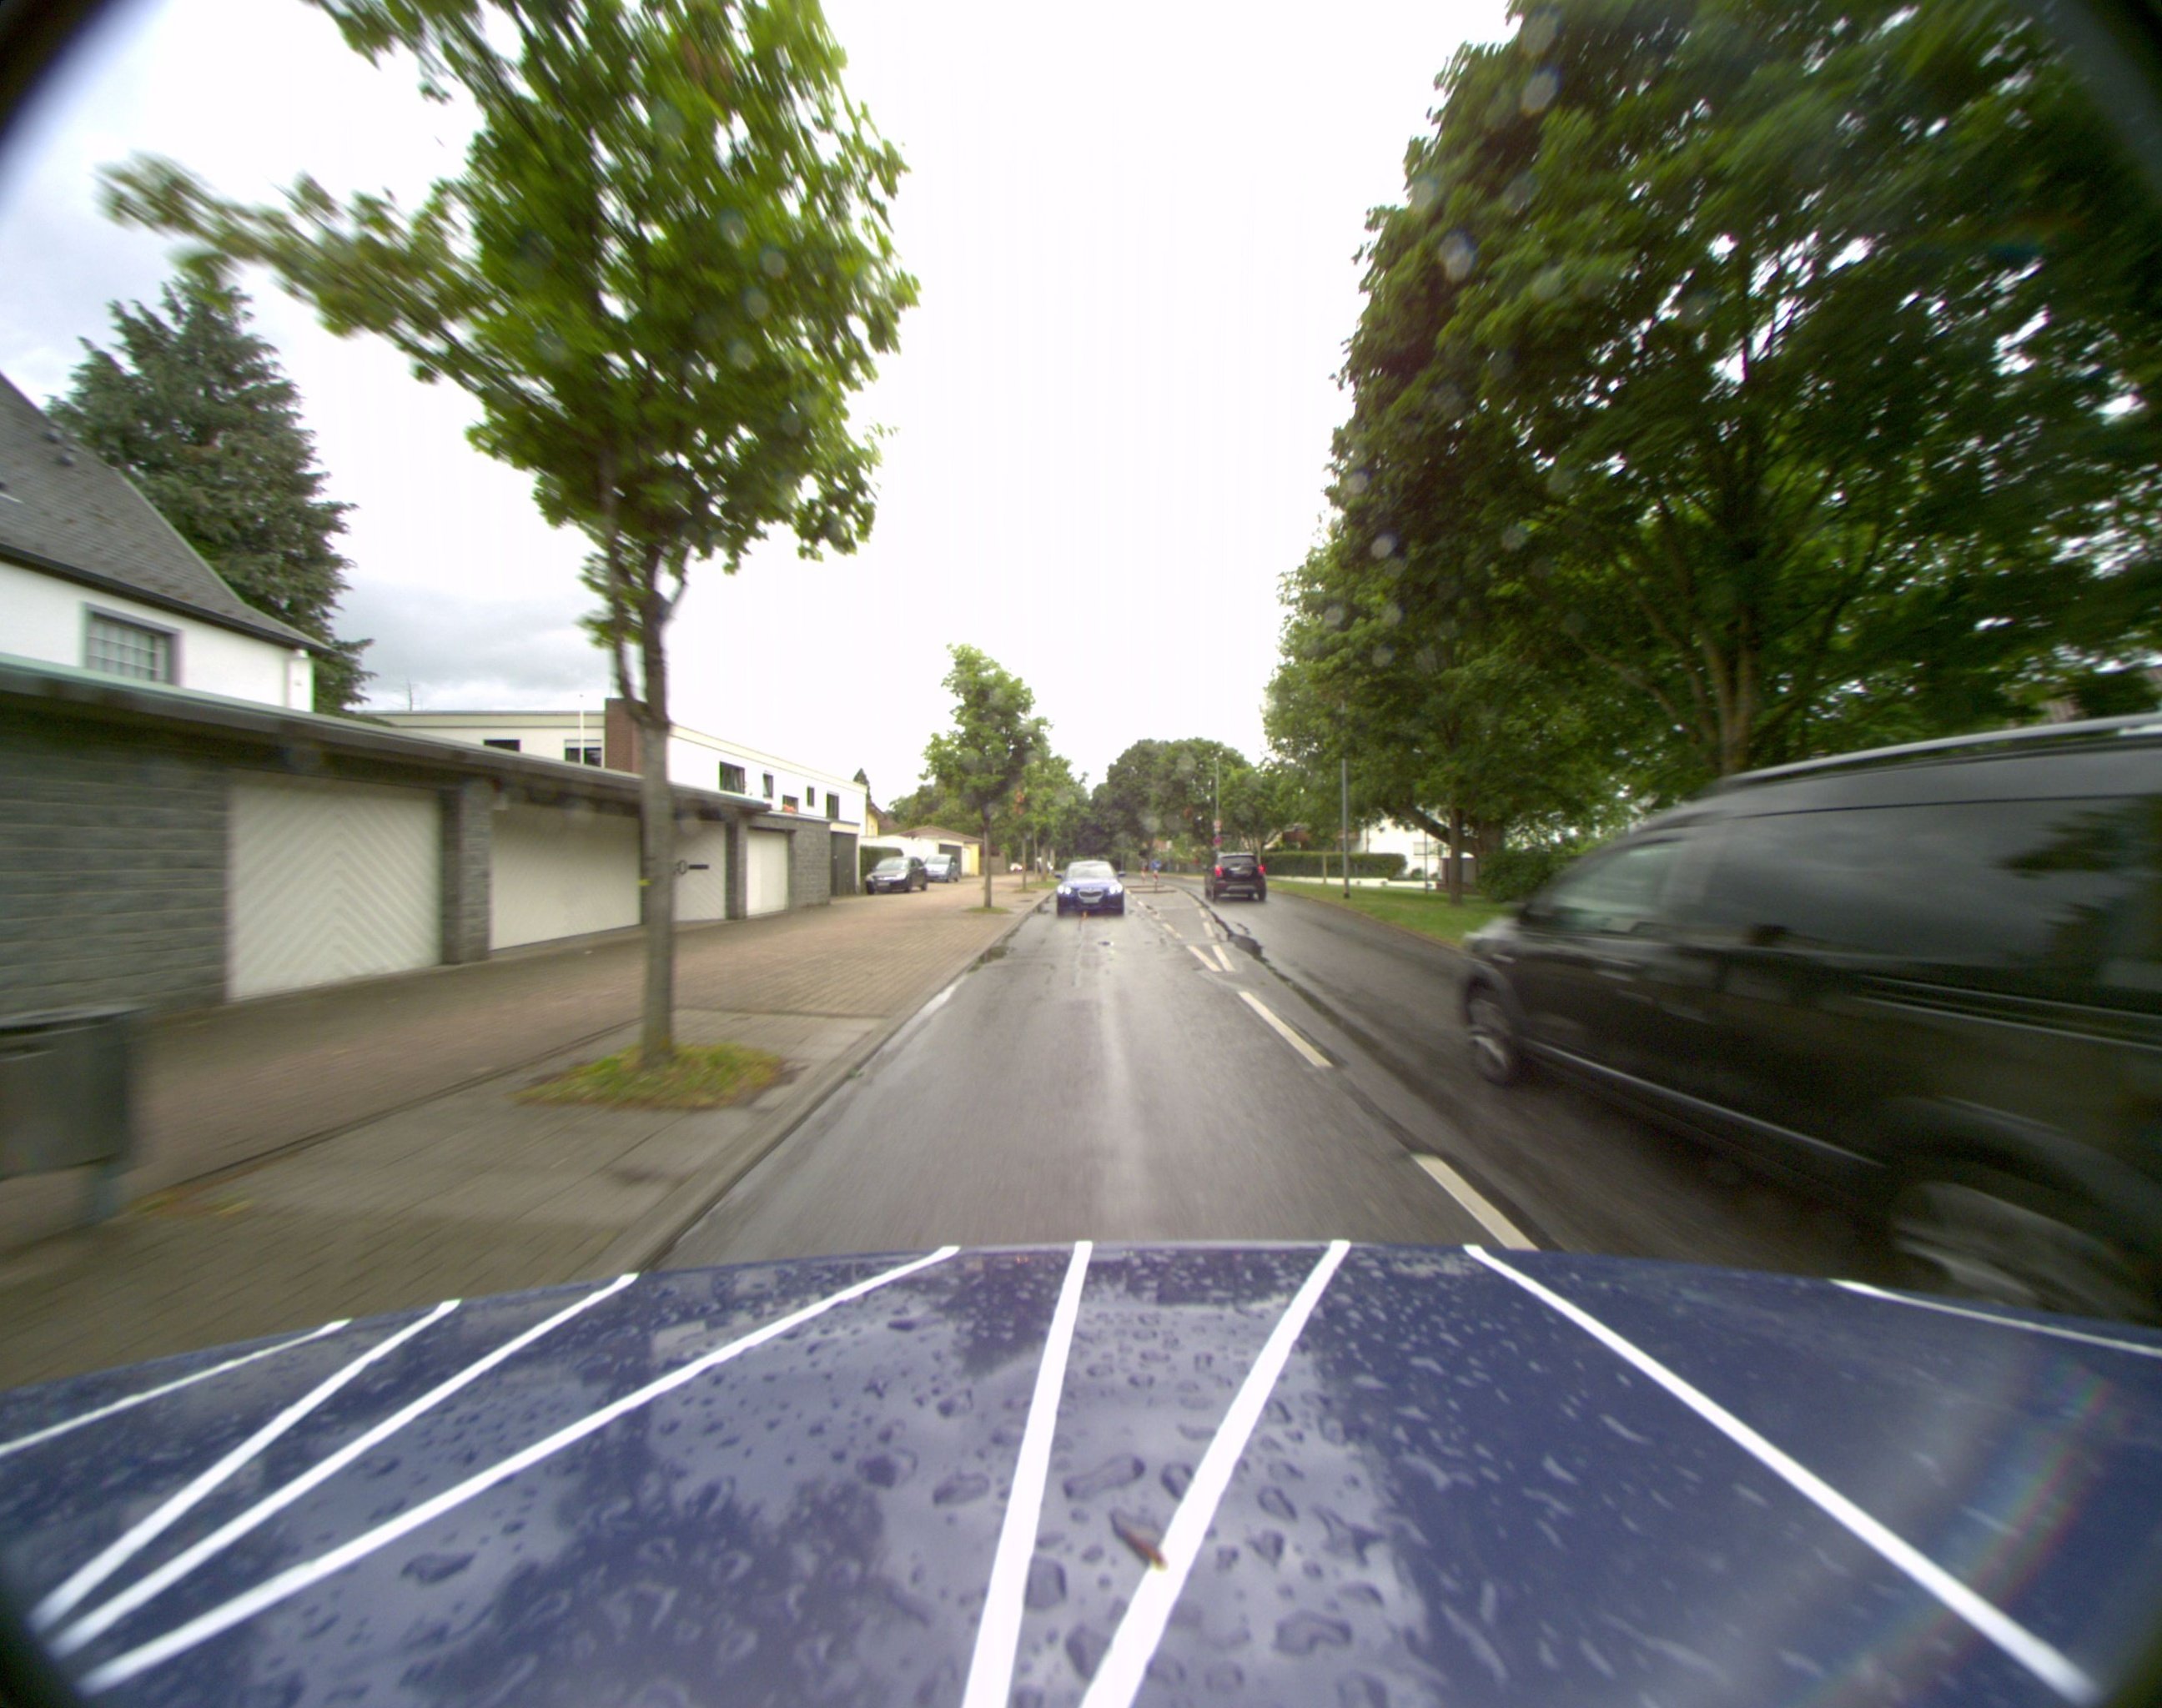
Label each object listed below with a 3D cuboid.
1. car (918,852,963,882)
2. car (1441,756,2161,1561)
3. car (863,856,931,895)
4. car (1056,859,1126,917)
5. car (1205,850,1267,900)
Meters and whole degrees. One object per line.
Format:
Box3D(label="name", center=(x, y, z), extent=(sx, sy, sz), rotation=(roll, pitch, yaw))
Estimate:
Box3D(label="car", center=(-8.051, 0.728, 43.903), extent=(1.699, 1.553, 4.000), rotation=(-2, 1, 1))
Box3D(label="car", center=(3.303, 0.649, 3.088), extent=(1.780, 1.763, 4.286), rotation=(-1, 0, 2))
Box3D(label="car", center=(-7.448, 0.834, 31.171), extent=(1.666, 1.414, 4.000), rotation=(-2, 0, 1))
Box3D(label="car", center=(0.302, 0.904, 21.972), extent=(1.815, 1.459, 3.975), rotation=(-1, 0, 1))
Box3D(label="car", center=(5.345, 0.683, 26.609), extent=(1.713, 1.588, 4.174), rotation=(-1, 0, 6))
